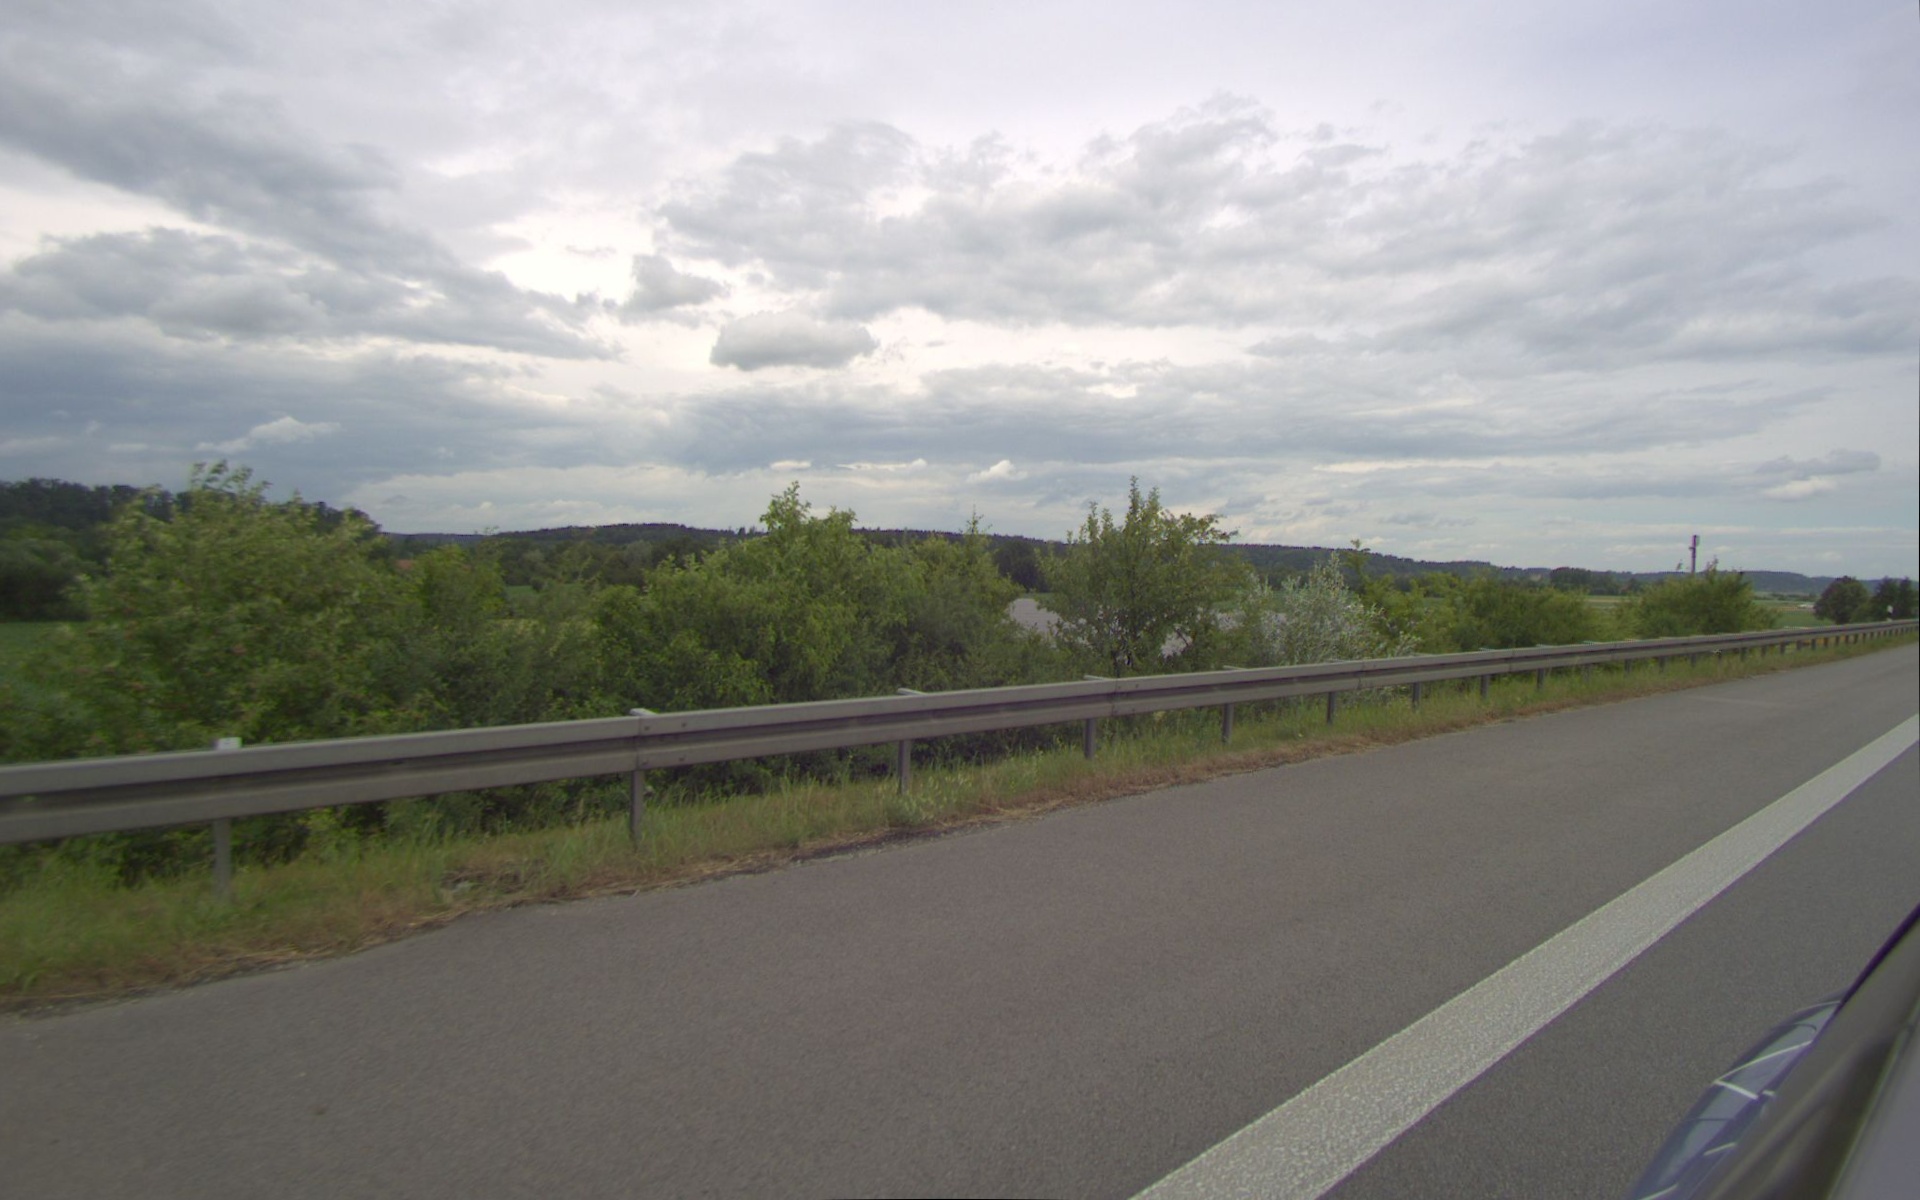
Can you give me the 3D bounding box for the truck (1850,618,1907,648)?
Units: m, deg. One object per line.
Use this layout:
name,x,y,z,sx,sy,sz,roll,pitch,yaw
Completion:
truck,159.798,5.689,176.040,7.120,4.847,2.971,3,1,45

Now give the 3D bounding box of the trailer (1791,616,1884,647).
trailer,155.888,5.491,179.896,12.275,4.847,2.971,3,1,45
